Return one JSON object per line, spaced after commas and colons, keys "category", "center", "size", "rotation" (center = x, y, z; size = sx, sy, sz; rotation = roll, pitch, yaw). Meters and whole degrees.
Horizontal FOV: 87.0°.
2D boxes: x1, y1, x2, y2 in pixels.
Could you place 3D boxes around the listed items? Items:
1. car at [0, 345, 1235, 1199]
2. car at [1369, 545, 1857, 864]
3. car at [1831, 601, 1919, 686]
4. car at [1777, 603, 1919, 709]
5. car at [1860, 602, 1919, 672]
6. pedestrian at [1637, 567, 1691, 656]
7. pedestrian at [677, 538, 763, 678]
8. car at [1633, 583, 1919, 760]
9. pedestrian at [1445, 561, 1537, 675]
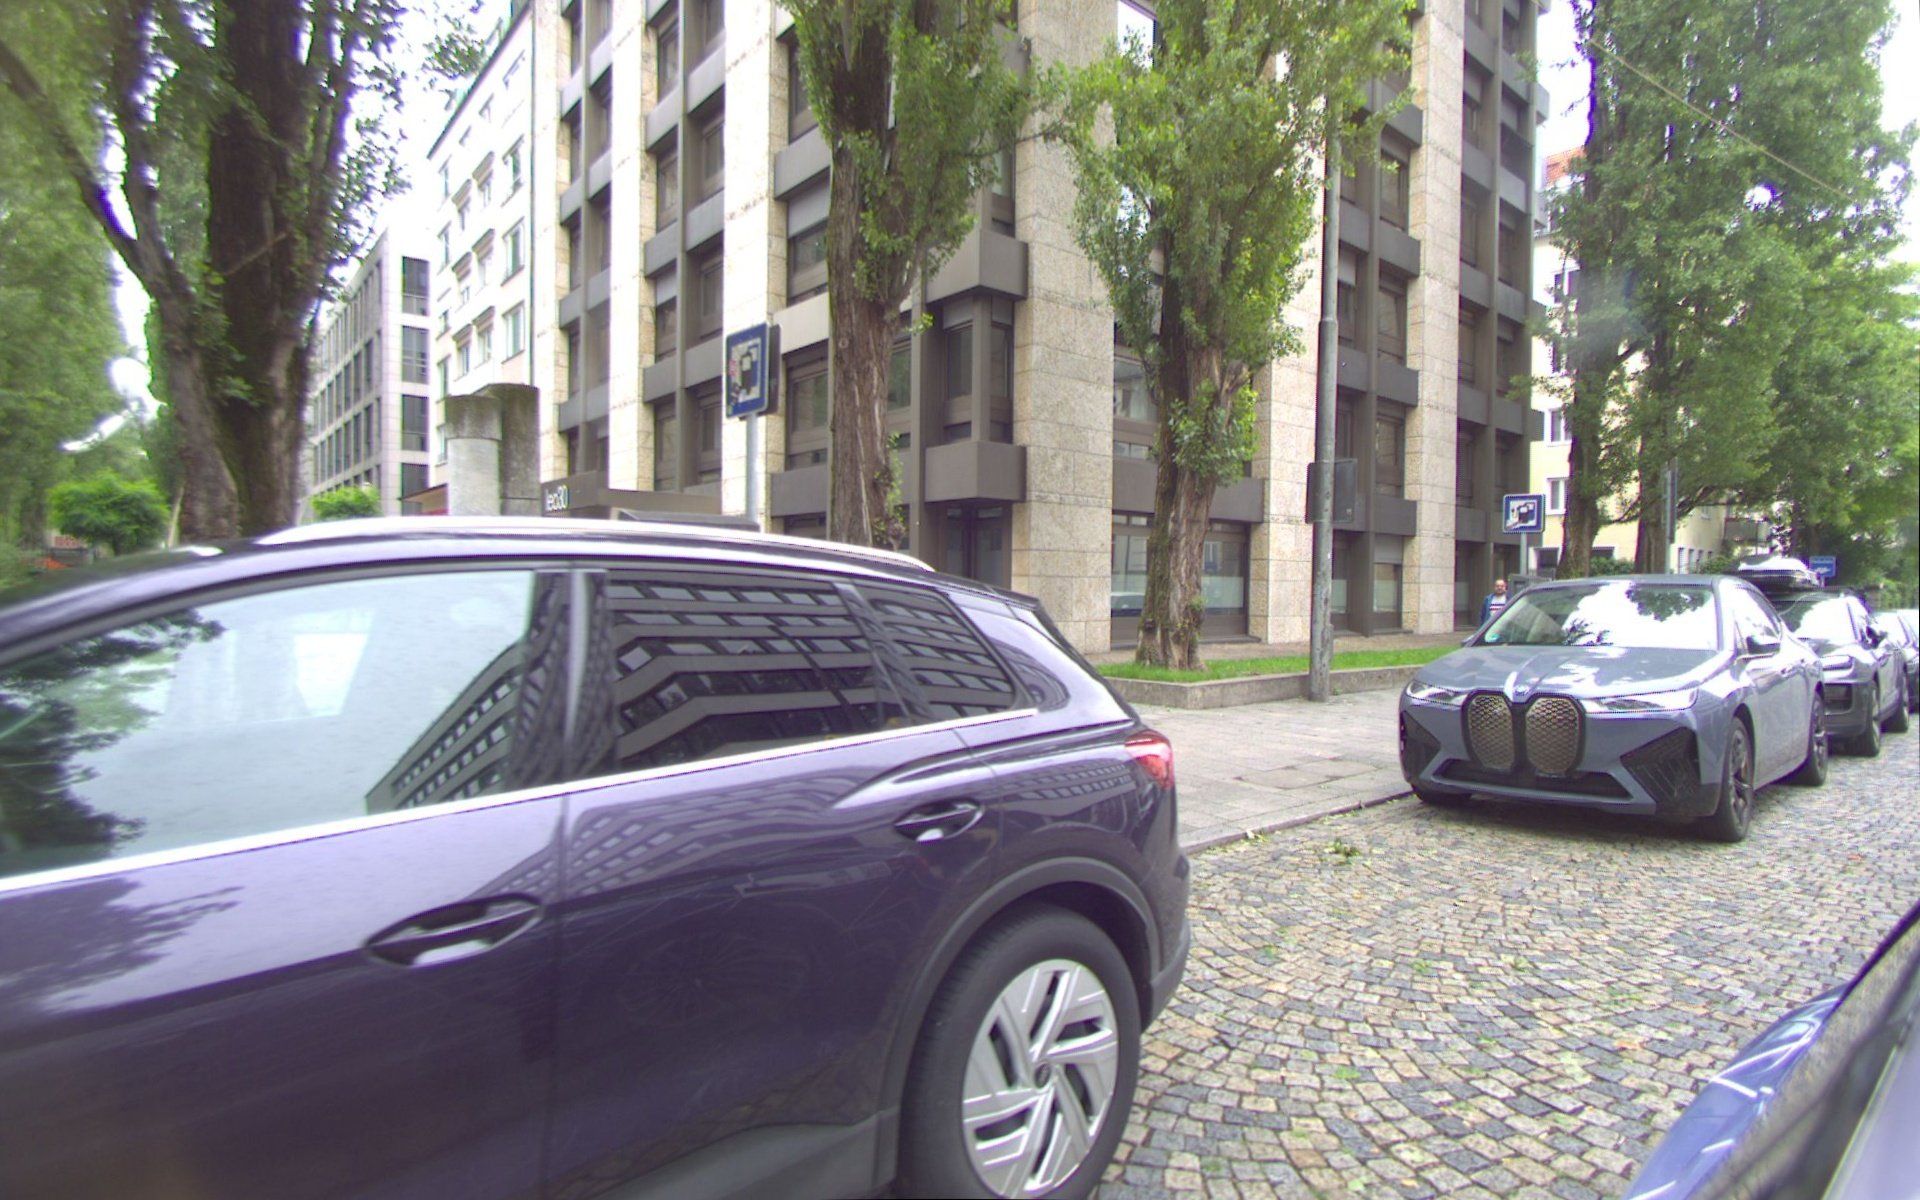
{"category": "car", "center": [-1.409, 0.564, 2.144], "size": [4.129, 1.722, 1.923], "rotation": [0, 0, -42]}
{"category": "car", "center": [5.200, 0.553, 7.768], "size": [4.592, 1.722, 2.016], "rotation": [0, 0, -42]}
{"category": "car", "center": [17.335, 0.741, 18.519], "size": [3.500, 1.449, 1.603], "rotation": [0, -1, -41]}
{"category": "car", "center": [13.973, 0.756, 15.549], "size": [4.136, 1.408, 1.720], "rotation": [0, 0, -44]}
{"category": "car", "center": [20.989, 0.752, 21.747], "size": [3.806, 1.405, 1.997], "rotation": [0, 0, -41]}
{"category": "pedestrian", "center": [12.645, 0.191, 18.174], "size": [0.697, 1.556, 0.644], "rotation": [0, 1, -43]}
{"category": "pedestrian", "center": [-2.890, 0.082, 12.200], "size": [0.704, 1.627, 0.711], "rotation": [1, 1, 35]}
{"category": "car", "center": [9.346, 0.634, 11.355], "size": [4.267, 1.603, 1.996], "rotation": [0, 0, -42]}
{"category": "pedestrian", "center": [8.312, 0.267, 15.865], "size": [0.893, 1.735, 0.871], "rotation": [1, 1, -21]}
